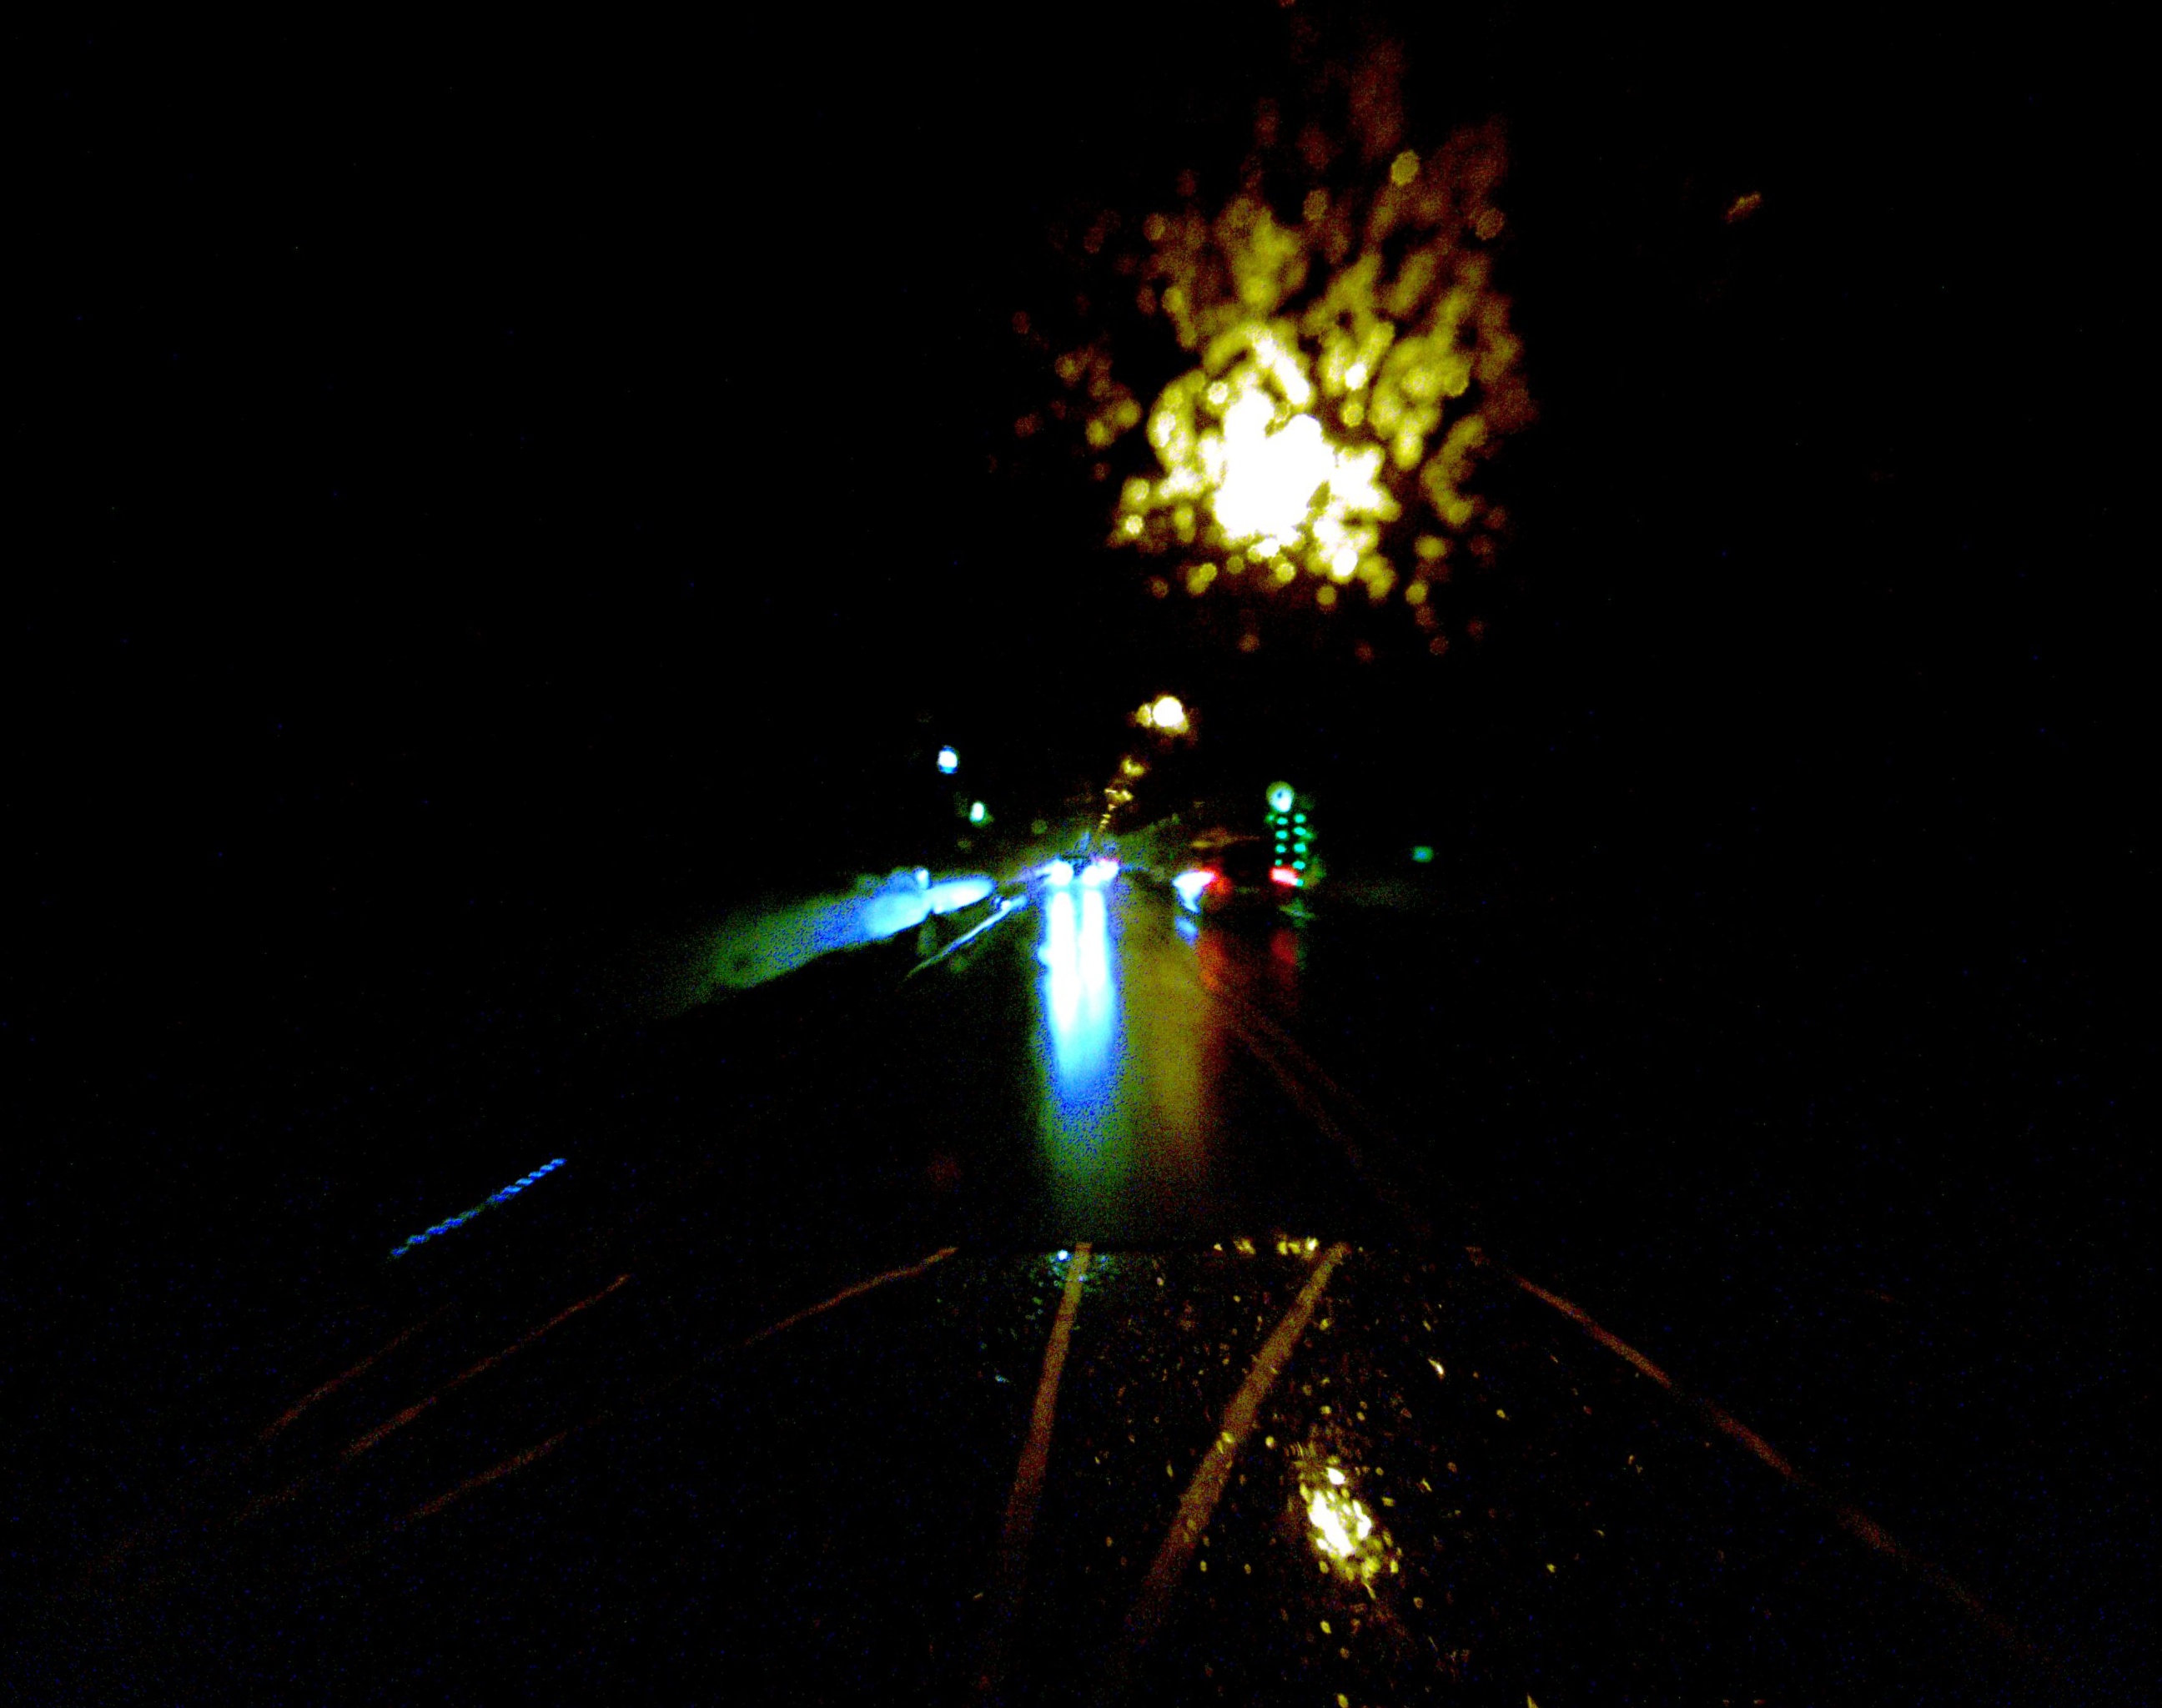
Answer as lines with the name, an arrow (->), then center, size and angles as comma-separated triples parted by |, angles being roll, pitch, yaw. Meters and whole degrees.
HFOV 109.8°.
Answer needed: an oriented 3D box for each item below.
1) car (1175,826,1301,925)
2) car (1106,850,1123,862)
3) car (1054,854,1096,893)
car -> 3.541, 0.444, 18.100 | 2.090, 2.002, 4.559 | -2, 0, 1
car -> 4.274, 0.212, 96.679 | 1.998, 1.410, 4.713 | -1, 0, 1
car -> -0.235, 0.874, 35.462 | 1.829, 1.650, 3.929 | -1, 0, 1
